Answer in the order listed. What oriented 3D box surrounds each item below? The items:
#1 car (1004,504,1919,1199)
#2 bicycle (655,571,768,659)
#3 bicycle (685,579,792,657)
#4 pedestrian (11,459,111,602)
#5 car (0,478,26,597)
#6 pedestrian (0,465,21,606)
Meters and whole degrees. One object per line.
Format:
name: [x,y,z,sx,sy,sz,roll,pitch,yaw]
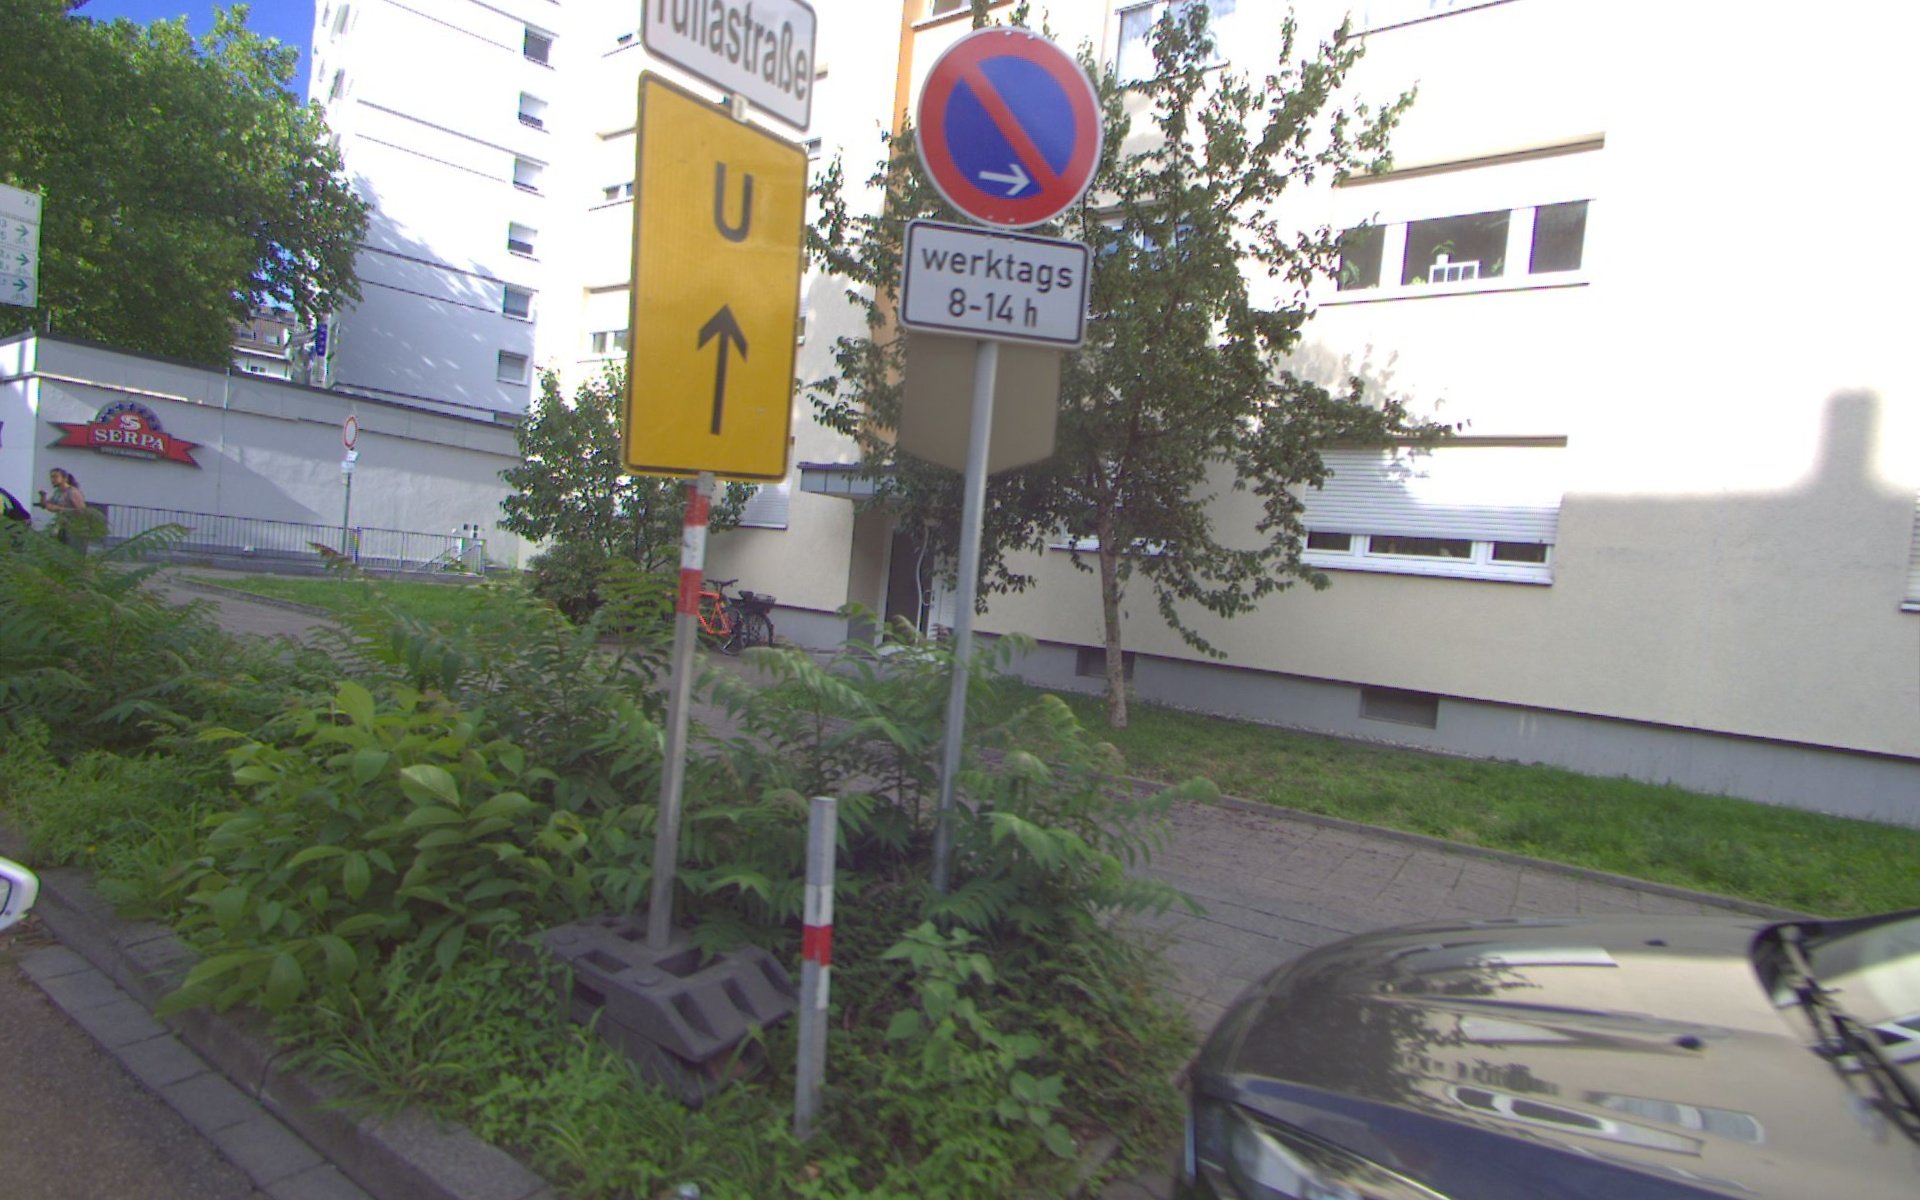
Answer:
car: [2.276,0.879,1.015,4.166,1.549,1.690,7,2,31]
bicycle: [-3.551,0.211,14.344,1.526,1.069,0.522,7,2,29]
bicycle: [-3.273,0.259,14.822,1.526,0.976,0.478,7,2,29]
pedestrian: [-11.163,-0.855,12.493,0.730,1.666,0.653,7,2,31]
car: [-13.640,-0.969,12.802,4.166,1.431,1.759,7,3,35]
pedestrian: [-11.066,-0.753,11.227,0.730,1.560,0.652,7,4,31]
